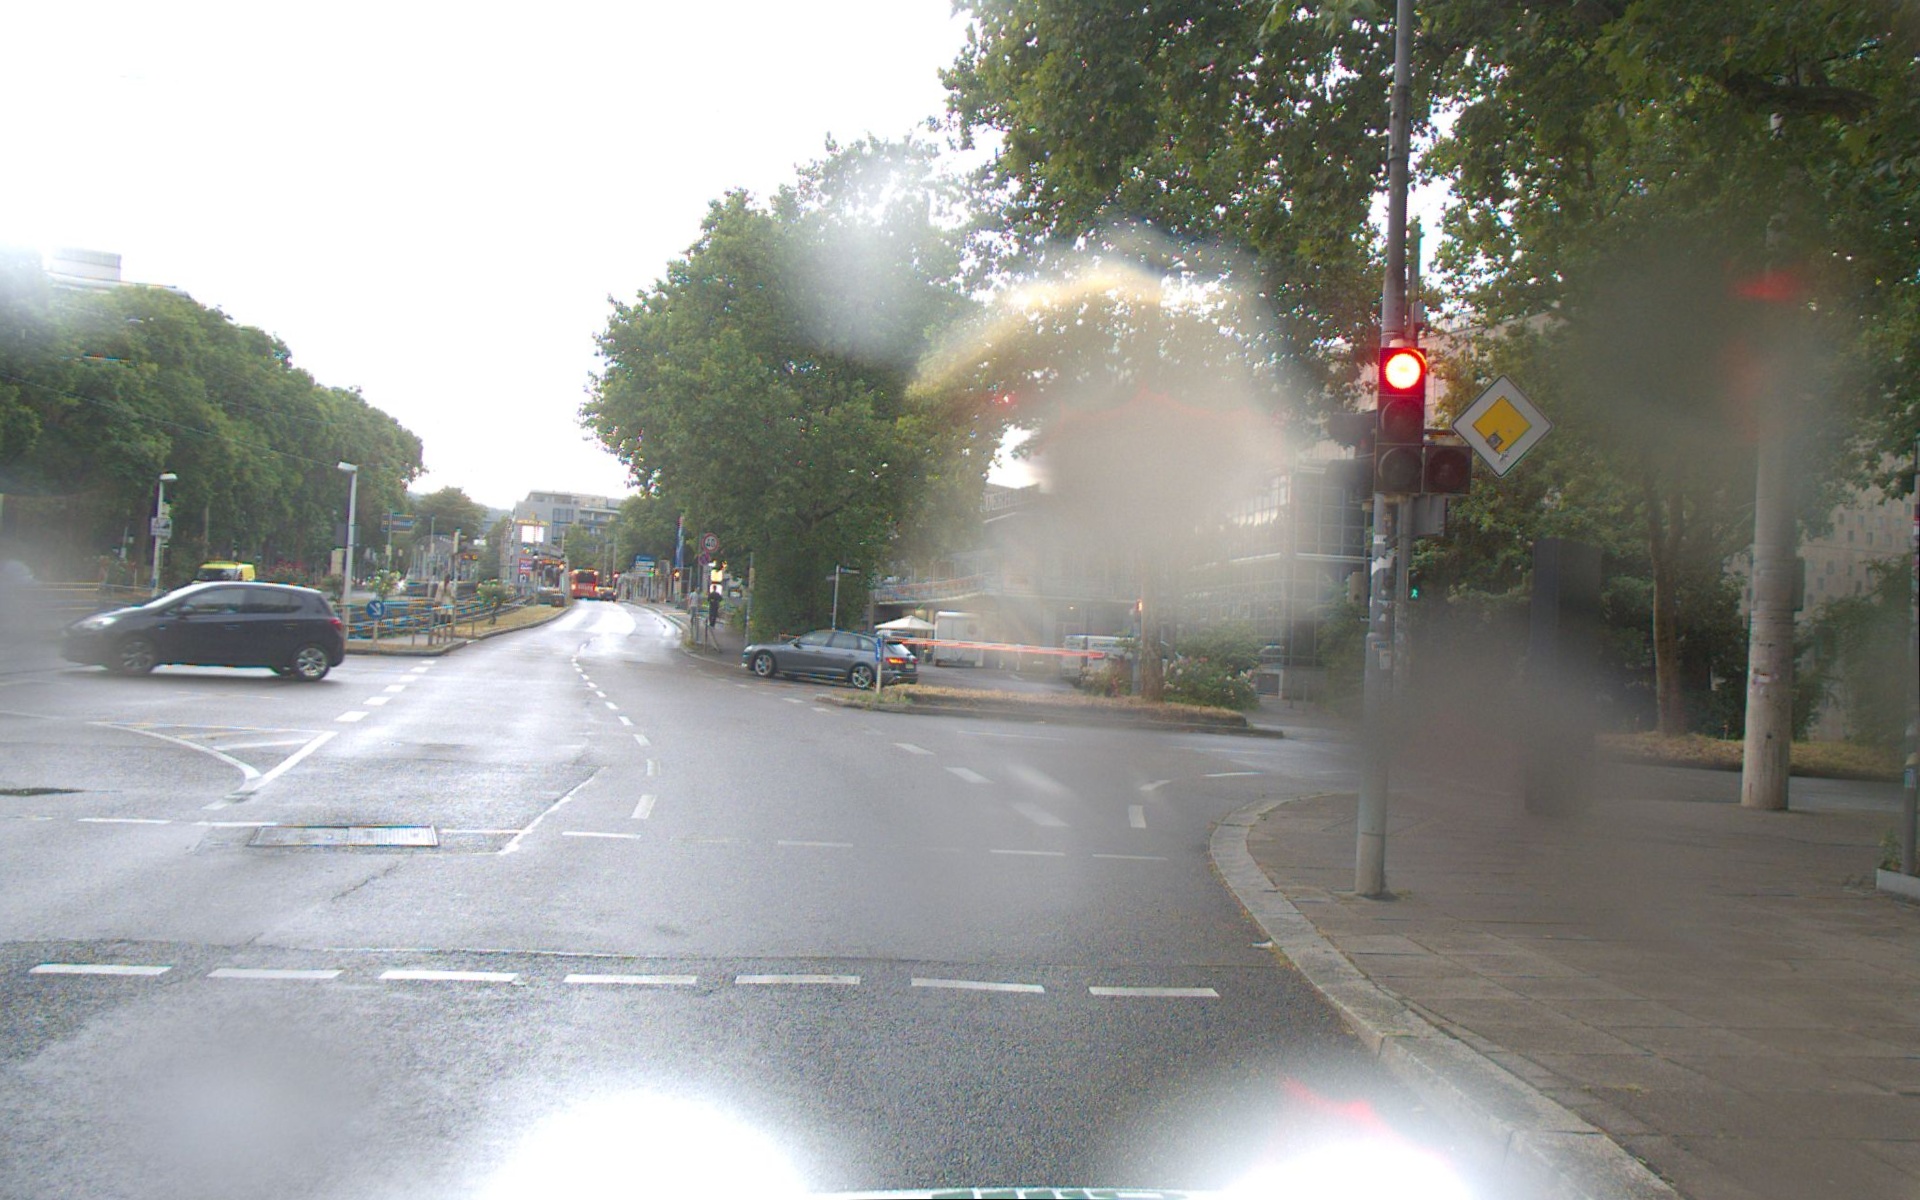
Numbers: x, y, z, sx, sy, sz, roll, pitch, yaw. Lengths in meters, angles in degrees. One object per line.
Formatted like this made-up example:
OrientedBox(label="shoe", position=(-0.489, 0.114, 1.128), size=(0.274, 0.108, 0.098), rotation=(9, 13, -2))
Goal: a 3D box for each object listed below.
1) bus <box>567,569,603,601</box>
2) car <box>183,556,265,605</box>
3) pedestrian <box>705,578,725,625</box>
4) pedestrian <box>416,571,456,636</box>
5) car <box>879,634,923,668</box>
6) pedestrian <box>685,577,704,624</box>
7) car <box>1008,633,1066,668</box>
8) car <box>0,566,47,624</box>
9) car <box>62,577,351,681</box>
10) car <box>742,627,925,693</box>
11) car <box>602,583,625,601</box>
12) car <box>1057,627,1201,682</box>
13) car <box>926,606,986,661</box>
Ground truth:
OrientedBox(label="bus", position=(-39.895, -1.580, 175.838), size=(3.528, 3.227, 10.384), rotation=(1, 0, -13))
OrientedBox(label="car", position=(-30.835, -0.770, 69.433), size=(1.884, 1.883, 4.558), rotation=(2, -1, -8))
OrientedBox(label="pedestrian", position=(-10.837, 0.056, 73.188), size=(0.858, 2.049, 1.075), rotation=(1, -1, -8))
OrientedBox(label="pedestrian", position=(-15.306, 0.098, 48.321), size=(0.848, 1.834, 0.871), rotation=(3, 0, -4))
OrientedBox(label="car", position=(-3.120, 2.685, 87.862), size=(1.978, 1.578, 4.351), rotation=(3, 0, 1))
OrientedBox(label="pedestrian", position=(-11.722, 0.024, 73.061), size=(0.799, 2.049, 1.075), rotation=(1, -1, -8))
OrientedBox(label="car", position=(4.133, 2.703, 89.218), size=(1.985, 1.578, 4.336), rotation=(3, 0, -13))
OrientedBox(label="car", position=(-27.485, -0.163, 46.512), size=(1.884, 1.573, 3.674), rotation=(2, -1, -8))
OrientedBox(label="car", position=(-11.564, 0.454, 25.458), size=(3.823, 1.380, 1.614), rotation=(3, 0, -34))
OrientedBox(label="car", position=(-3.245, 1.514, 42.700), size=(4.245, 1.545, 2.001), rotation=(1, 0, 19))
OrientedBox(label="car", position=(-37.865, -0.835, 180.839), size=(2.322, 1.848, 5.165), rotation=(1, 0, -13))
OrientedBox(label="car", position=(6.371, 2.059, 62.274), size=(5.135, 1.761, 1.859), rotation=(3, 0, -26))
OrientedBox(label="car", position=(-0.293, 1.811, 91.389), size=(2.678, 2.742, 6.915), rotation=(3, 0, -5))
